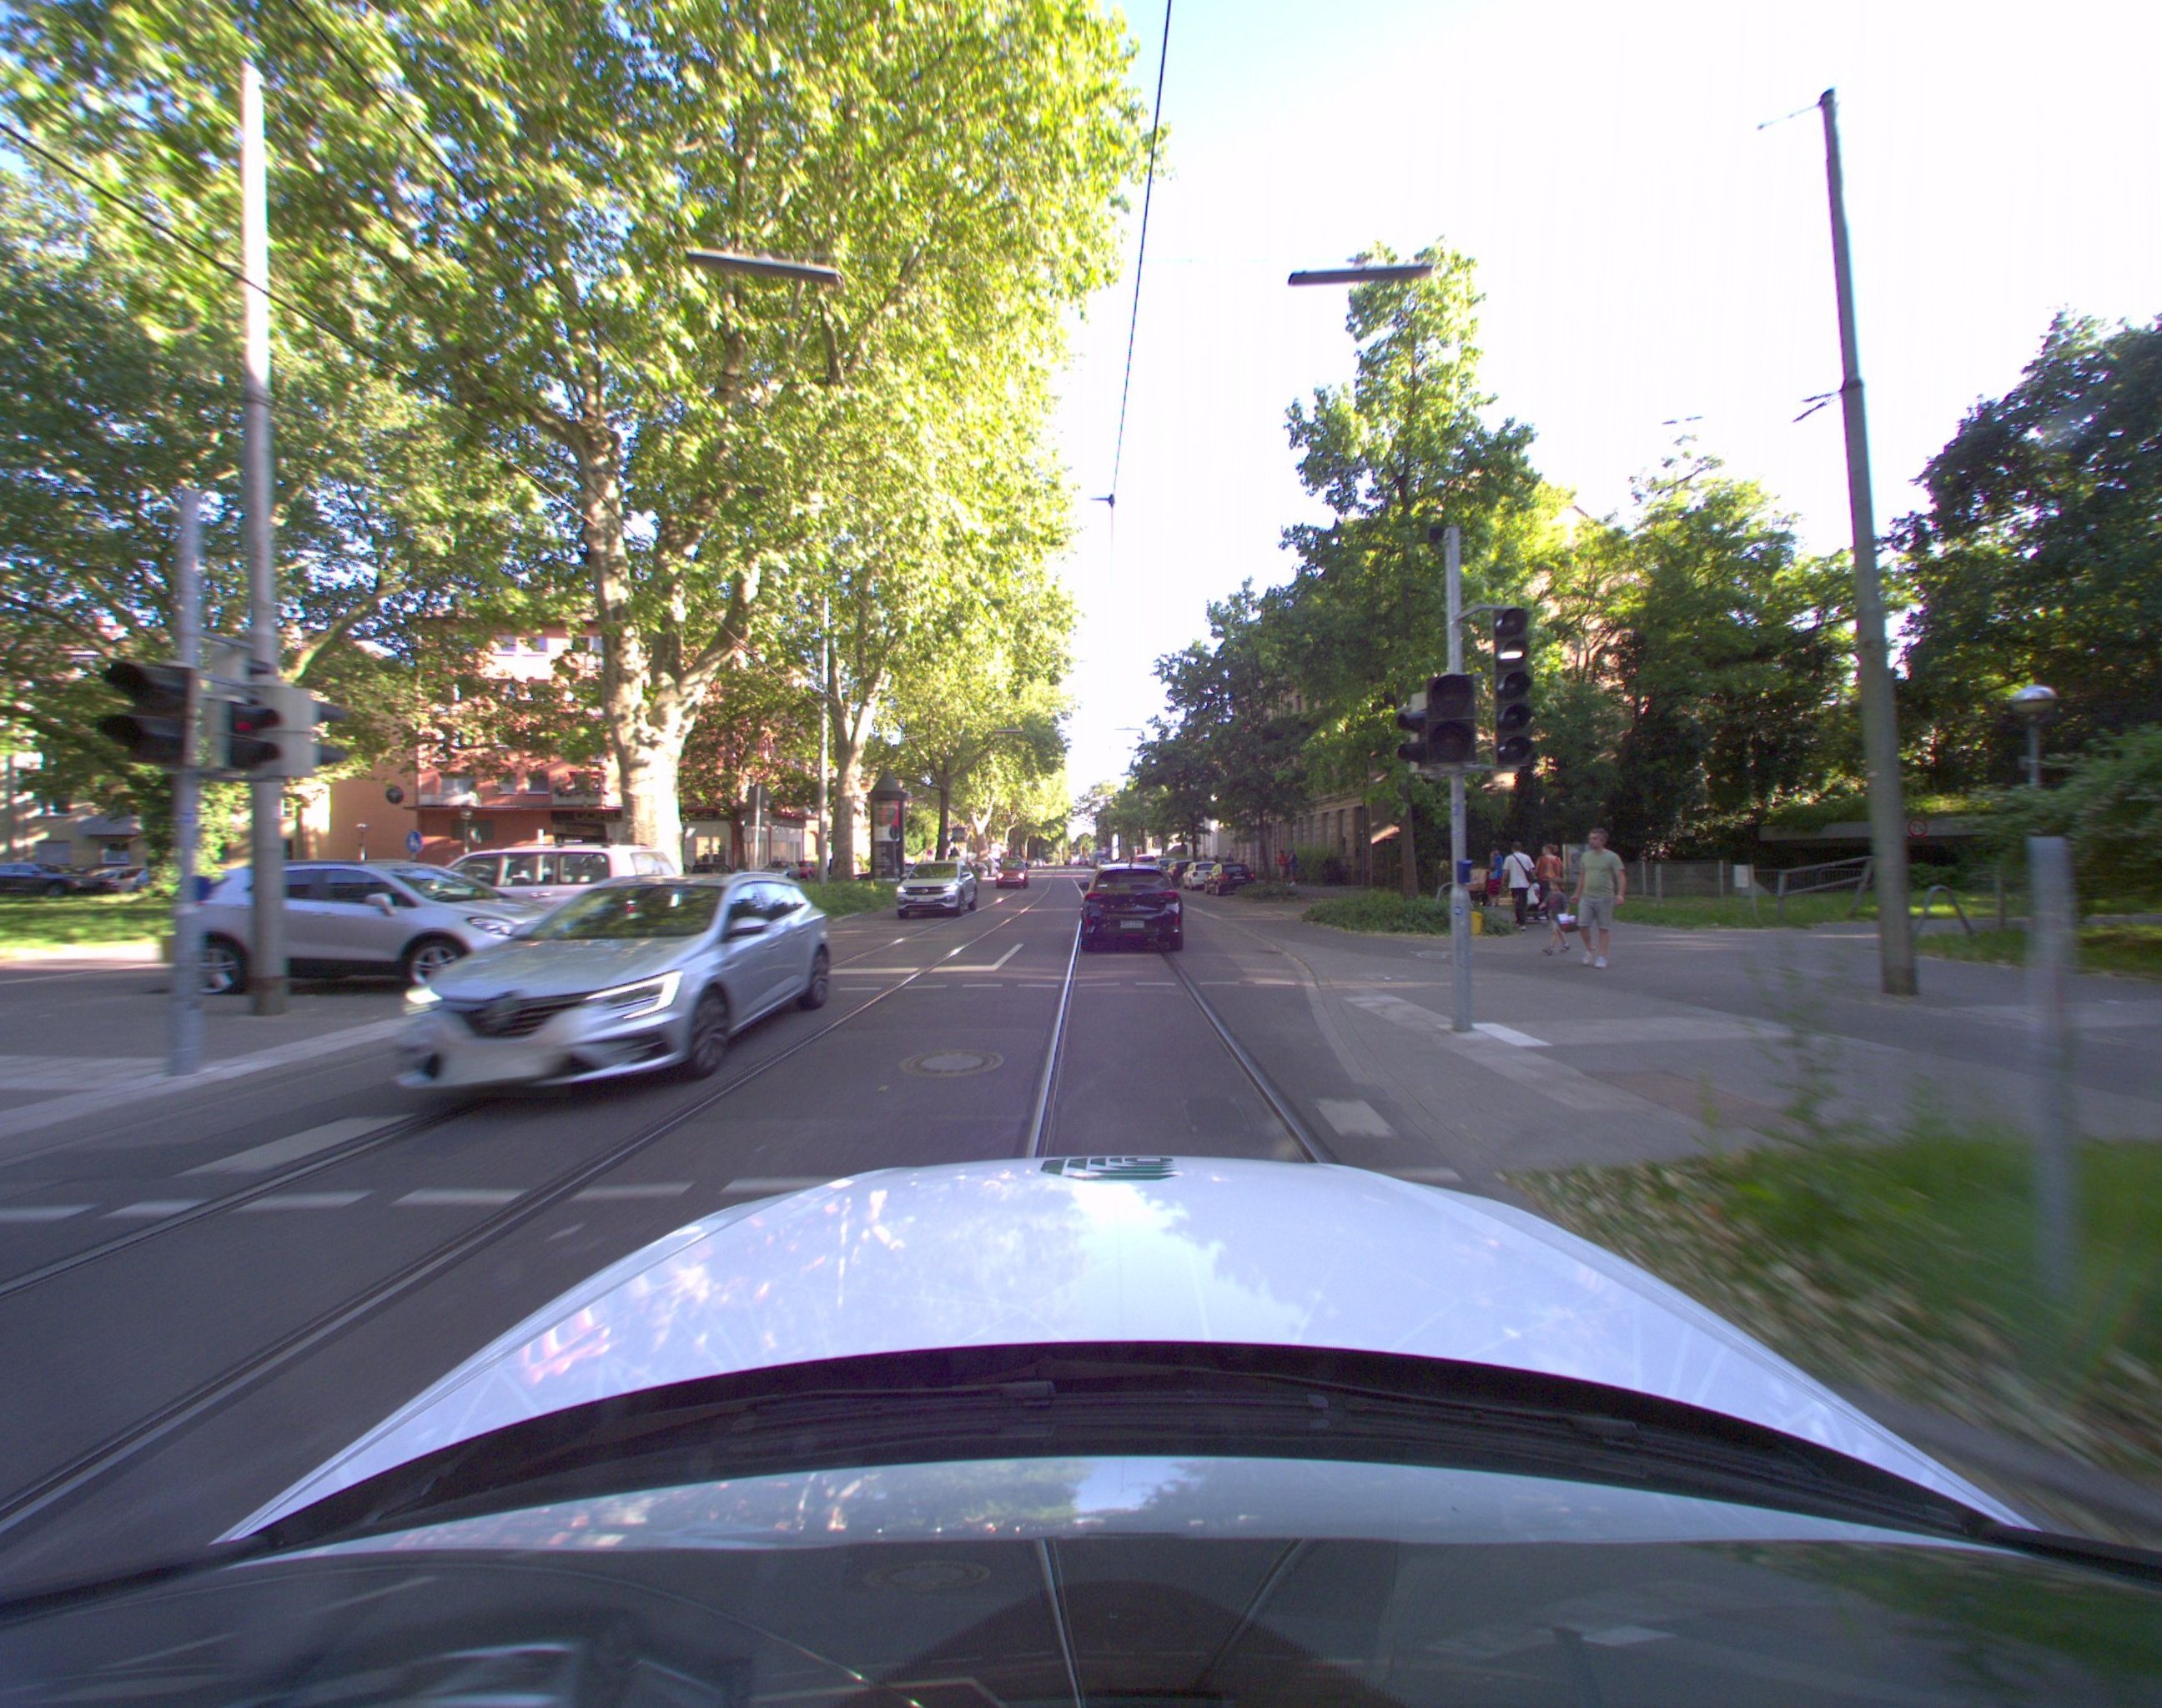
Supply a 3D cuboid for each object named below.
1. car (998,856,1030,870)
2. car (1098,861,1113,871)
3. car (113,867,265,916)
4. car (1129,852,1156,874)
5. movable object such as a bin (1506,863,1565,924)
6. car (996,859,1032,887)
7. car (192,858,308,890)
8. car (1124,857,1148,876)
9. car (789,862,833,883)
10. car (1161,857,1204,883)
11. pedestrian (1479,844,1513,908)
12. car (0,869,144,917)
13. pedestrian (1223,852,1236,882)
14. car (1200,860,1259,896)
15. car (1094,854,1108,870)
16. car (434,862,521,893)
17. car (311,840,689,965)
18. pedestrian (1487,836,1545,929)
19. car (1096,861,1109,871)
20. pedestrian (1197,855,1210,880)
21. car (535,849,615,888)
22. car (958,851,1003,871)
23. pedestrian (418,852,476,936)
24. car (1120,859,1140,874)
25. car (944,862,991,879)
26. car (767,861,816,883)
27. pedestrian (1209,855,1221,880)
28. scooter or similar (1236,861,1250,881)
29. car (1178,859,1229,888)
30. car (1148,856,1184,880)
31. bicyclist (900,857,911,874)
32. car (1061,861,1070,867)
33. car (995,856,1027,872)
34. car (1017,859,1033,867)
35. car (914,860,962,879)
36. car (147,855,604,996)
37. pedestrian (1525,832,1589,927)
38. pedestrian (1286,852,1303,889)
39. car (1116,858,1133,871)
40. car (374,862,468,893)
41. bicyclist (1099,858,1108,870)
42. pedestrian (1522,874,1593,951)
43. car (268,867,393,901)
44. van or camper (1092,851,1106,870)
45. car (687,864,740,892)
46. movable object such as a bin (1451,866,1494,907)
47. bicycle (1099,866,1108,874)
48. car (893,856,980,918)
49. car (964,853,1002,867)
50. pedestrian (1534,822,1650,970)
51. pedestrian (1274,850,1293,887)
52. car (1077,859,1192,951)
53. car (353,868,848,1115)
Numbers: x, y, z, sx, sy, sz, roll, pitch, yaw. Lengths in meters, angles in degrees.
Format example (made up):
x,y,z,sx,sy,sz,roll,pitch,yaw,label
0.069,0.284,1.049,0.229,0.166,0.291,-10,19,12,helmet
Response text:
x,y,z,sx,sy,sz,roll,pitch,yaw,label
-12.449,1.684,151.203,5.617,2.593,2.197,0,-1,2,car
3.693,1.773,122.316,1.879,1.434,4.527,-3,-1,-2,car
-38.675,1.599,35.422,3.987,2.014,1.993,0,-1,-10,car
5.464,0.800,72.669,1.879,1.851,4.964,-3,-1,-2,car
9.552,0.805,17.170,0.635,1.202,1.308,-2,-1,9,movable object such as a bin
-3.580,1.002,43.983,1.656,1.444,3.472,-1,-1,-1,car
-43.758,1.027,43.031,1.944,1.618,4.470,0,-1,-9,car
5.498,1.244,81.700,1.880,1.766,4.675,-1,-1,-2,car
-19.738,1.332,59.724,1.942,1.487,3.998,0,-1,-1,car
6.454,1.018,52.157,1.880,1.467,4.588,-3,-1,-3,car
11.391,0.604,22.365,0.619,1.726,0.551,1,-1,-17,pedestrian
-44.168,1.646,35.074,4.730,2.014,1.993,0,-1,-10,car
9.018,0.767,49.452,0.722,1.793,0.601,0,-1,6,pedestrian
6.554,1.032,36.330,1.669,1.412,3.838,-3,-1,-3,car
3.380,1.350,139.671,2.079,2.772,4.694,-2,0,-2,car
-33.035,1.266,44.749,1.944,1.618,4.470,0,-1,-9,car
-9.098,0.741,13.114,4.560,1.834,1.936,0,-1,-3,car
8.690,0.556,16.312,0.722,1.793,0.855,-2,-1,9,pedestrian
3.511,1.921,132.463,1.798,1.434,3.997,-2,-2,-2,car
8.128,0.891,54.111,0.723,1.693,0.957,0,-1,2,pedestrian
-27.414,0.762,44.334,1.994,2.004,4.902,0,-1,-11,car
-11.414,0.814,92.700,5.025,2.259,2.082,0,-1,-5,car
-13.989,0.877,17.990,0.641,1.810,0.752,0,-1,4,pedestrian
5.282,1.337,87.658,1.708,1.514,4.032,-3,-1,-3,car
-10.213,1.495,73.258,3.976,1.465,1.853,0,-1,-2,car
-19.644,1.212,55.457,1.942,1.407,3.890,0,-1,-1,car
8.924,0.900,54.235,0.723,1.709,0.856,0,-1,1,pedestrian
9.814,1.023,49.240,0.574,1.246,1.334,0,-1,0,scooter or similar
6.367,0.992,42.818,1.879,1.368,4.104,-3,-1,-2,car
5.931,0.970,57.060,1.879,1.568,4.239,-3,-1,-2,car
-16.252,1.082,75.544,0.798,1.507,1.115,0,-1,-4,bicyclist
-4.387,2.847,232.304,2.247,1.841,5.529,-2,-1,0,car
-11.903,1.764,138.506,5.022,2.374,2.080,-4,-1,-2,car
-14.771,2.353,213.903,3.968,2.014,2.002,0,-1,4,car
-11.034,1.192,62.938,3.408,1.465,1.697,0,-1,0,car
-8.877,0.856,10.597,4.130,1.646,1.900,0,-1,-3,car
9.408,0.489,16.122,0.722,1.793,0.970,-2,-1,9,pedestrian
10.221,0.787,38.949,0.597,1.793,0.727,0,-1,-4,pedestrian
5.129,1.238,96.334,1.698,1.423,3.975,-4,-1,-2,car
-35.644,1.247,44.161,1.944,1.618,4.470,0,-1,-9,car
2.780,1.241,99.780,0.956,1.499,1.093,0,-1,-3,bicyclist
7.232,0.874,12.378,0.677,1.118,0.655,1,-1,-21,pedestrian
-33.139,1.320,36.049,3.703,1.450,1.685,0,-1,-7,car
3.193,1.158,146.233,2.248,3.216,5.527,-2,-1,-2,van or camper
-20.480,1.326,45.506,1.813,1.493,3.984,0,-1,-11,car
11.088,0.920,23.097,0.665,1.126,0.954,0,-1,-9,movable object such as a bin
2.778,1.920,99.776,0.965,0.999,2.580,0,-1,-3,bicycle
-4.065,0.900,23.552,1.810,1.568,4.114,-2,-1,-1,car
-11.483,0.681,95.854,4.291,1.607,1.923,0,-1,-5,car
6.865,0.541,10.977,0.870,1.885,0.991,1,-1,-19,pedestrian
9.885,0.699,39.784,0.730,1.793,0.595,1,-1,-26,pedestrian
0.835,0.832,14.821,1.758,1.460,3.948,0,-1,-1,car
-3.480,0.862,7.004,1.770,1.461,4.202,0,-1,-1,car
